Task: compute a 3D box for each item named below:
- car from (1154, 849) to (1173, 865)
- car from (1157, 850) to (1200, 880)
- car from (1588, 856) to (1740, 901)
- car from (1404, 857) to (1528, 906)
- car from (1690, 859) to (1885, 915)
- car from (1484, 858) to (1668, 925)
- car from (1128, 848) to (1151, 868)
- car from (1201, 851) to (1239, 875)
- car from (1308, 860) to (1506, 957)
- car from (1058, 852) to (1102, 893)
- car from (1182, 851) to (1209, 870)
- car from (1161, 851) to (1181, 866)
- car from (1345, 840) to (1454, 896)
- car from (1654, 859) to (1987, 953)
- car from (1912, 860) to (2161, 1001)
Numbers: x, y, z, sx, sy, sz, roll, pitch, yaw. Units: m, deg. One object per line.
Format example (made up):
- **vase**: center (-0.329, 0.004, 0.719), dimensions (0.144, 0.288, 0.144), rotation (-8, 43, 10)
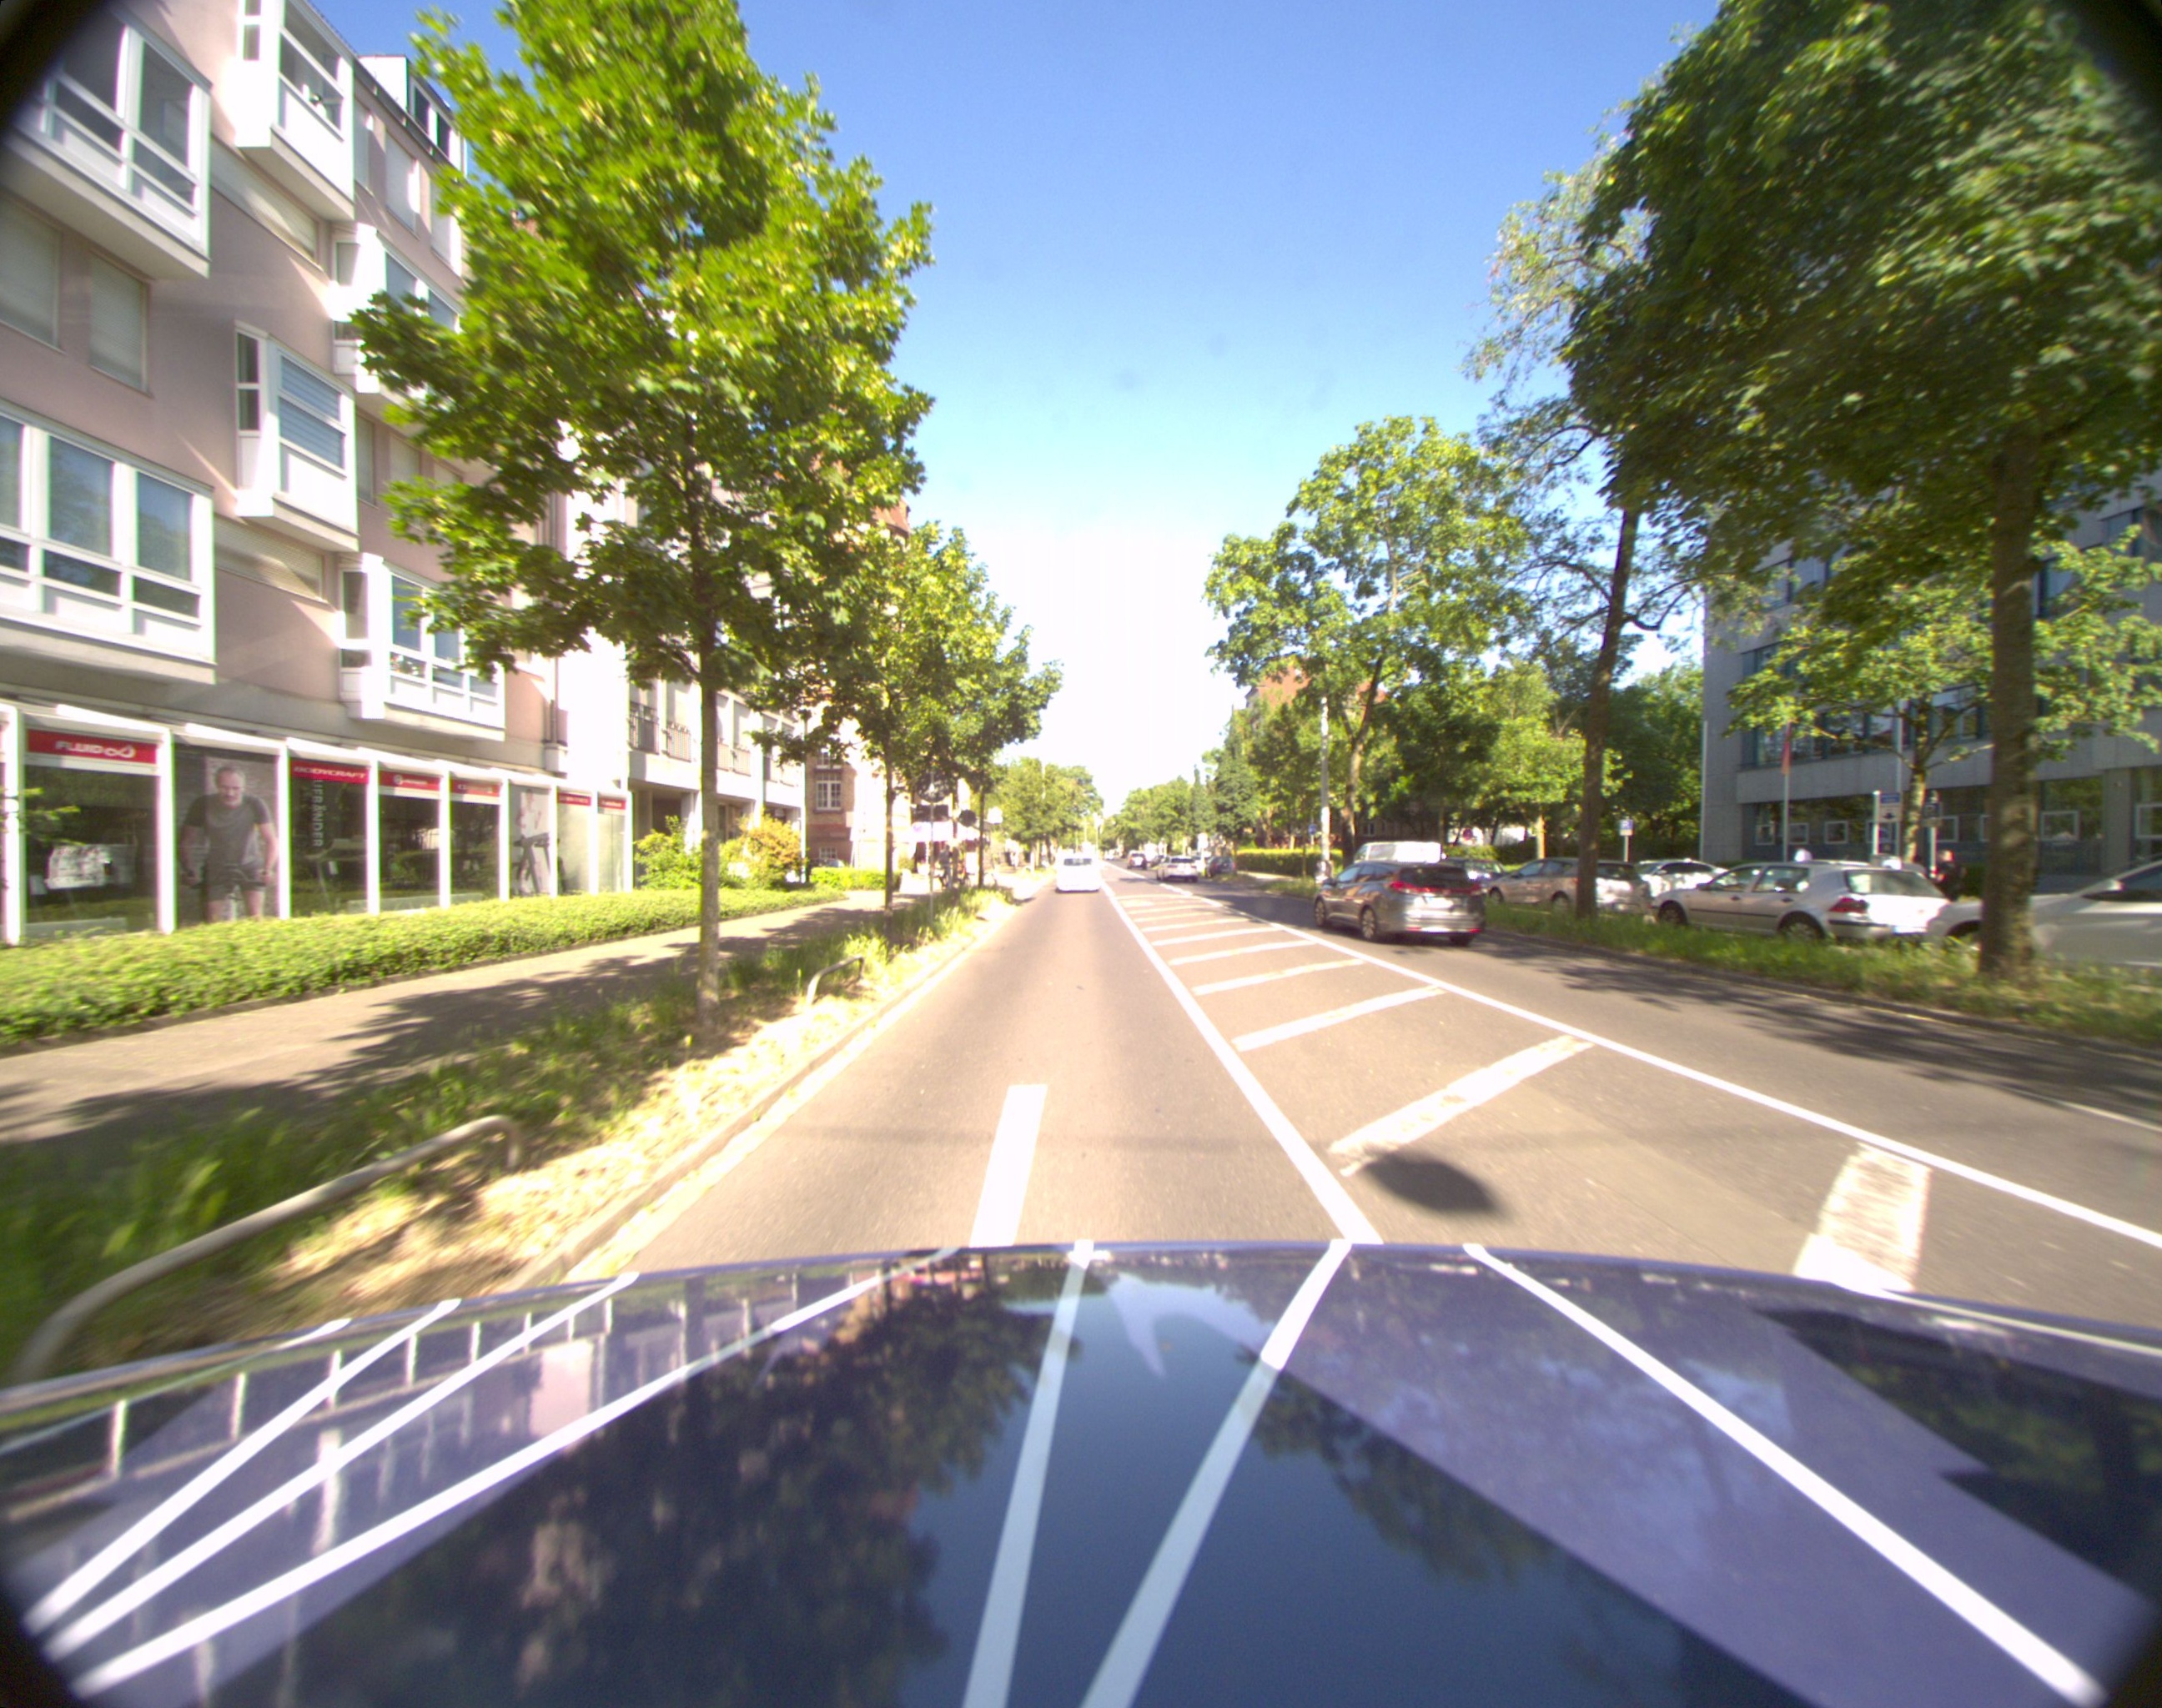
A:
- **car**: center (9.170, 0.288, 84.281), dimensions (1.708, 1.679, 4.000), rotation (0, 0, 1)
- **car**: center (5.415, 0.559, 42.548), dimensions (1.792, 1.575, 4.187), rotation (0, 0, -1)
- **car**: center (21.032, 0.854, 27.535), dimensions (3.996, 1.543, 1.895), rotation (0, 1, 2)
- **car**: center (11.599, 0.767, 23.235), dimensions (1.679, 1.325, 4.188), rotation (0, 0, 0)
- **car**: center (20.918, 0.943, 22.633), dimensions (3.996, 1.543, 1.895), rotation (0, 1, 2)
- **car**: center (11.411, 0.802, 17.873), dimensions (1.657, 1.336, 3.968), rotation (0, 0, -1)
- **car**: center (5.928, 0.355, 77.665), dimensions (2.169, 2.002, 4.410), rotation (0, 1, 2)
- **car**: center (9.051, 0.578, 49.737), dimensions (1.740, 1.481, 4.000), rotation (0, 0, 1)
- **car**: center (5.723, 0.869, 13.977), dimensions (1.792, 1.414, 4.188), rotation (1, 0, 0)
- **car**: center (-0.068, 0.695, 30.900), dimensions (1.664, 1.521, 4.099), rotation (0, 0, -1)
- **car**: center (9.212, 0.495, 61.121), dimensions (1.606, 1.406, 4.000), rotation (0, 0, 1)
- **car**: center (9.097, 0.427, 77.069), dimensions (1.606, 1.406, 4.000), rotation (0, 0, 1)
- **car**: center (11.732, 0.462, 28.382), dimensions (2.070, 1.898, 4.524), rotation (0, 0, -1)
- **car**: center (11.486, 0.724, 12.246), dimensions (1.655, 1.219, 3.847), rotation (0, 0, 1)
- **car**: center (11.611, 0.778, 7.467), dimensions (1.721, 1.375, 4.490), rotation (0, 0, -6)
